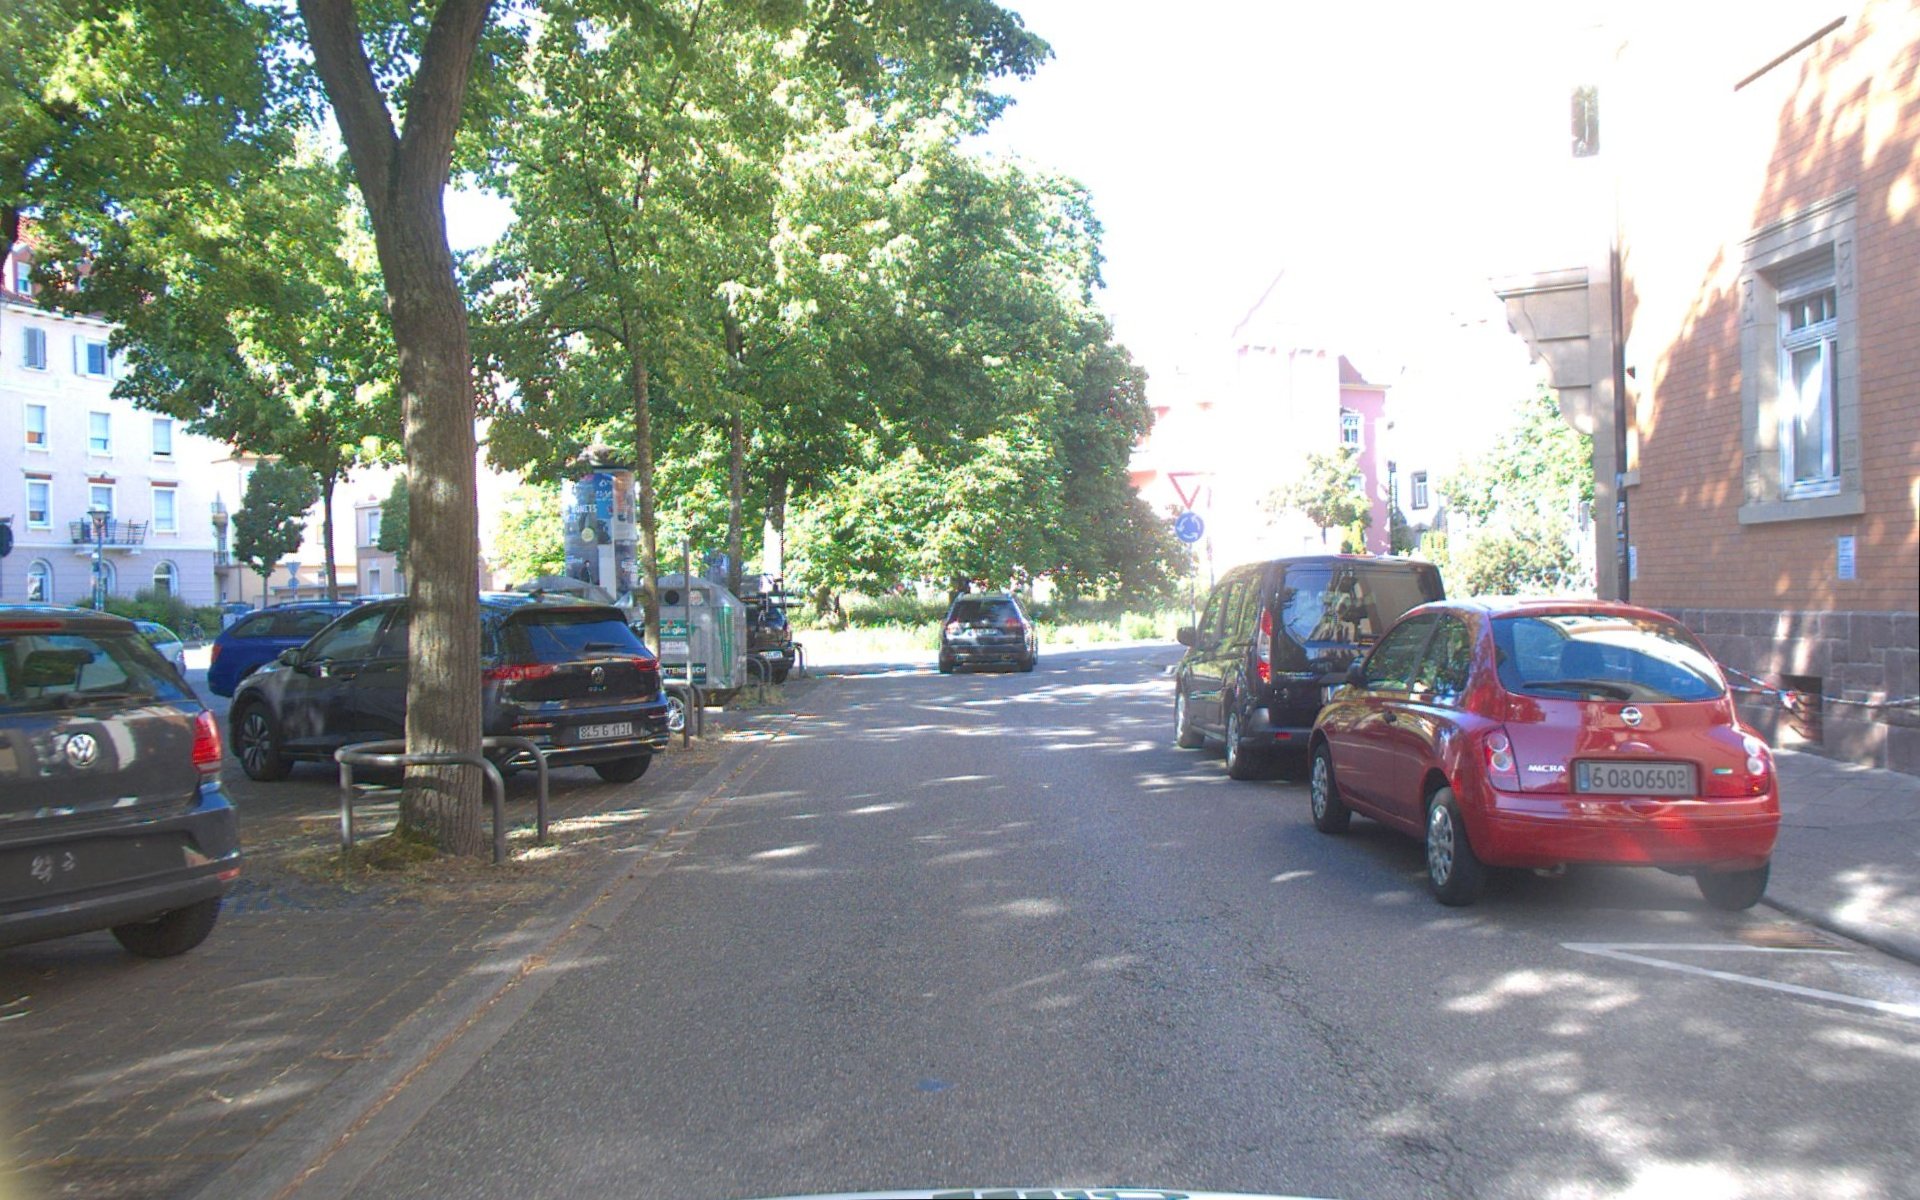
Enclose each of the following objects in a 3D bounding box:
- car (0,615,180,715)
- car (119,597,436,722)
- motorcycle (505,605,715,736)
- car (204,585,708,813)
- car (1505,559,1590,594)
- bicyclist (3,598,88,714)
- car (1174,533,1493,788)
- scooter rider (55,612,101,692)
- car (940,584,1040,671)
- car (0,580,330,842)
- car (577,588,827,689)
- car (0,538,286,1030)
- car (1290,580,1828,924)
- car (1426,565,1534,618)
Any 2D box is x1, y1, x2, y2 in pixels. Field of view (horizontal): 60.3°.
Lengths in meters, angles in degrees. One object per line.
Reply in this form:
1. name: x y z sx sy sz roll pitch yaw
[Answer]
1. car: -15.480 1.084 28.976 1.742 1.551 3.999 -1 0 -1
2. car: -9.395 0.804 22.870 3.707 1.491 1.646 -3 0 11
3. motorcycle: -3.415 0.681 16.224 1.899 1.191 0.518 -2 0 0
4. car: -3.999 0.654 12.843 4.025 1.492 1.857 0 -1 40
5. car: 27.707 -1.097 78.002 3.920 1.480 1.545 -3 1 -29
6. bicyclist: -13.532 0.811 24.497 0.700 1.650 0.928 -2 0 0
7. car: 3.141 0.449 14.799 1.765 1.903 4.272 2 0 -1
8. scooter rider: -17.703 1.041 33.185 0.515 1.556 0.605 -2 0 36
9. car: 0.650 0.478 32.400 1.678 1.508 4.147 -2 1 4
10. car: -6.703 0.655 11.391 4.052 1.581 1.835 1 0 11
11. car: -4.224 0.612 26.793 4.064 1.507 1.767 -1 -1 40
12. car: -4.645 0.625 6.518 3.652 1.609 1.635 -1 0 25
13. car: 3.197 0.698 9.711 1.612 1.564 3.999 1 0 -1
14. car: 16.737 -0.247 53.397 1.684 1.591 3.760 -2 0 -12
